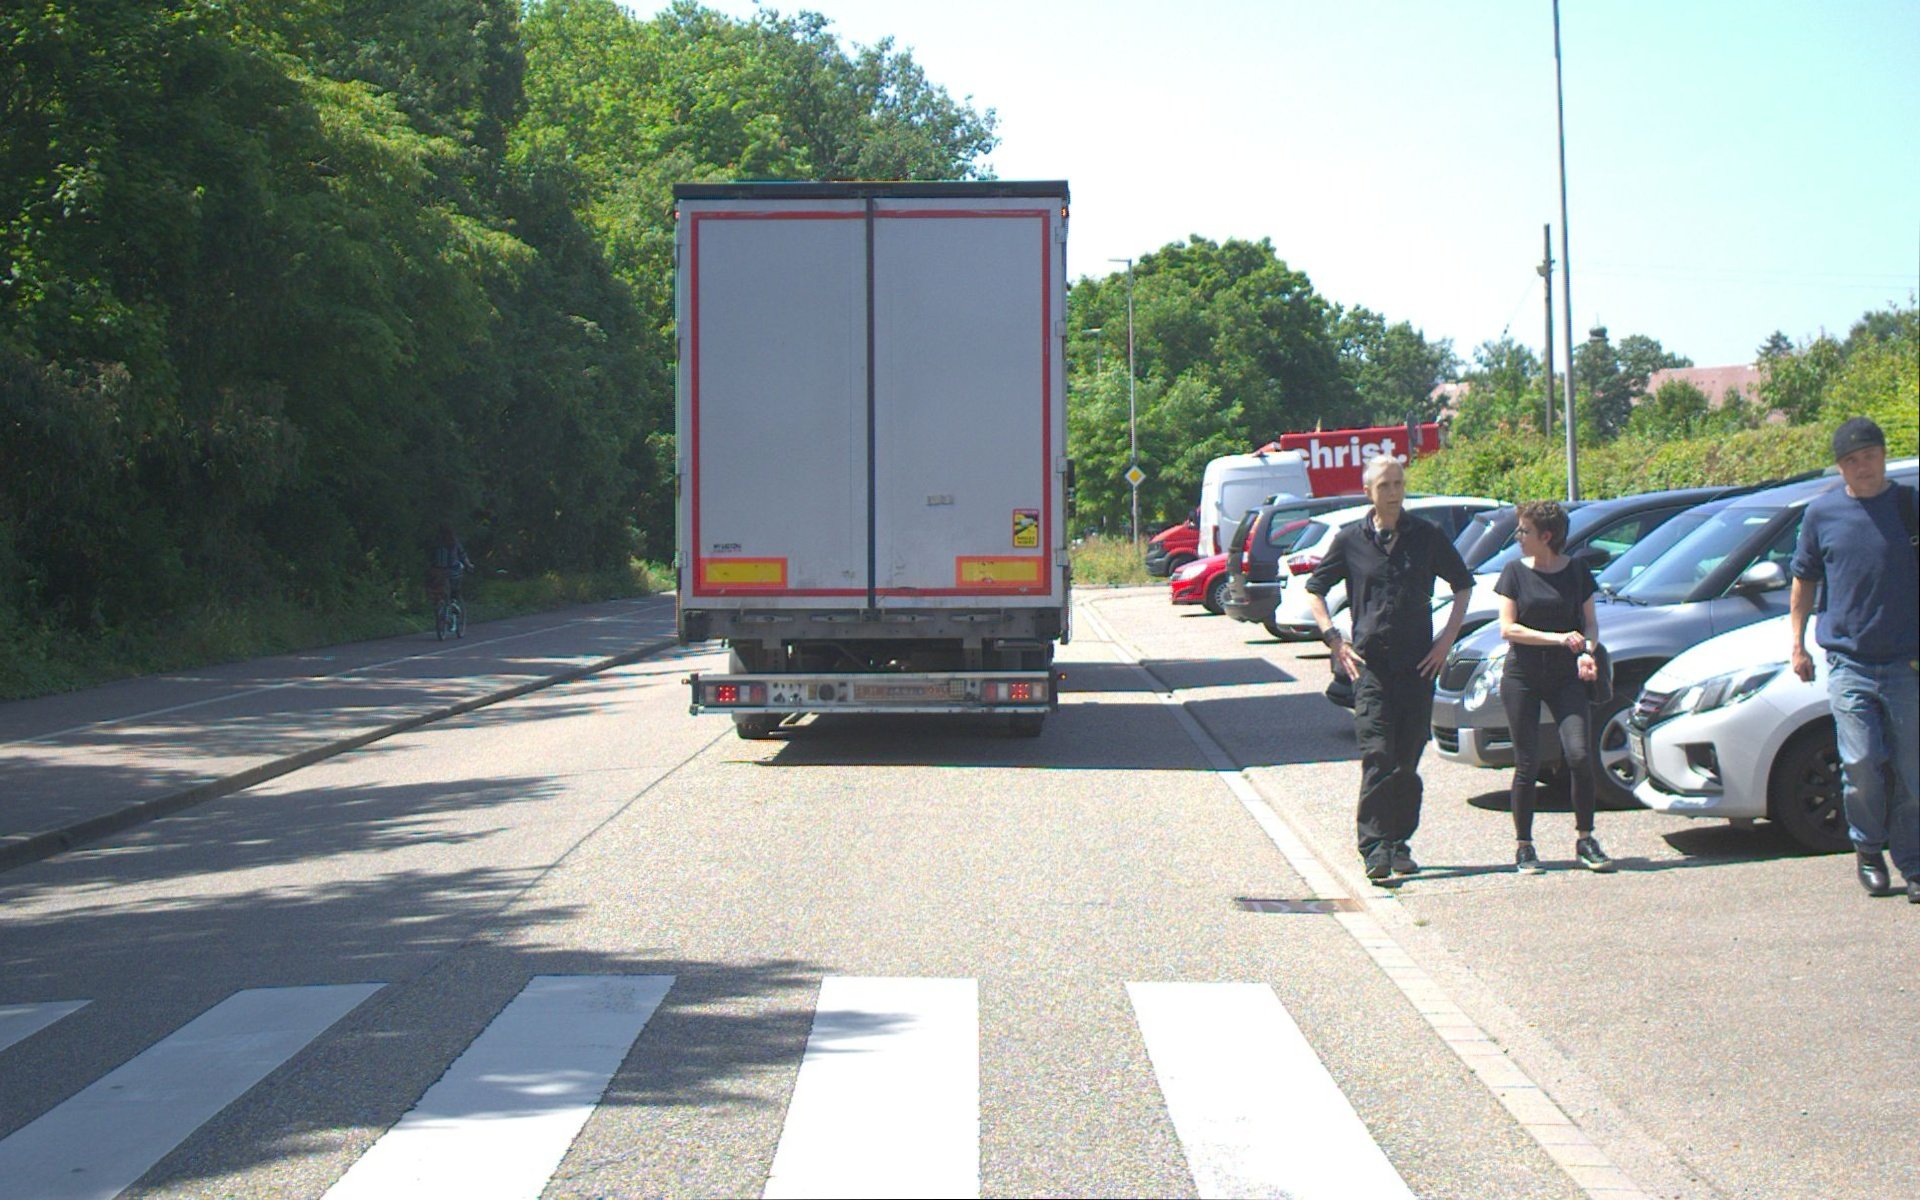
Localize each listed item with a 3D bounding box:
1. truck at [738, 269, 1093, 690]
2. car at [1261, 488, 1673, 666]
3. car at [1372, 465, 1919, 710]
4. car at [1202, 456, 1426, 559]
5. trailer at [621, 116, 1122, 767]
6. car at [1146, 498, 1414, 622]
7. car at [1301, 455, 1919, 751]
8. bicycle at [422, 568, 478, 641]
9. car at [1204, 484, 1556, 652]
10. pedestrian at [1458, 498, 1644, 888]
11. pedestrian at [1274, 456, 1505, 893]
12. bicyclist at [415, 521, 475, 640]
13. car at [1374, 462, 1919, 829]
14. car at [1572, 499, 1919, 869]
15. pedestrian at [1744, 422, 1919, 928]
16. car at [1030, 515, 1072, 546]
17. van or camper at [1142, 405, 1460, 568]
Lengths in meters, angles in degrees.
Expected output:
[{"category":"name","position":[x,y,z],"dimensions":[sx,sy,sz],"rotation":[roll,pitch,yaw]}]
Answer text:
[{"category":"truck","position":[-0.343,-1.146,34.141],"dimensions":[3.114,3.712,6.414],"rotation":[-1,1,1]},{"category":"car","position":[5.357,-0.259,36.629],"dimensions":[3.956,1.613,1.814],"rotation":[-3,1,-4]},{"category":"car","position":[5.517,-0.108,27.544],"dimensions":[3.955,1.580,1.814],"rotation":[-5,1,-8]},{"category":"car","position":[6.512,-1.703,63.483],"dimensions":[3.956,1.792,1.813],"rotation":[-1,1,2]},{"category":"trailer","position":[-0.449,-1.126,27.763],"dimensions":[3.113,4.088,11.537],"rotation":[-1,1,1]},{"category":"car","position":[5.161,-0.650,55.740],"dimensions":[3.956,1.662,1.814],"rotation":[-5,1,-4]},{"category":"car","position":[4.593,-0.026,24.108],"dimensions":[3.955,1.662,1.814],"rotation":[-5,3,-8]},{"category":"bicycle","position":[-7.665,0.051,51.732],"dimensions":[0.454,1.043,2.203],"rotation":[-1,1,1]},{"category":"car","position":[5.189,-0.409,42.779],"dimensions":[3.956,1.759,1.814],"rotation":[-4,1,-4]},{"category":"pedestrian","position":[2.558,0.386,14.941],"dimensions":[0.589,1.609,0.744],"rotation":[-5,1,4]},{"category":"pedestrian","position":[1.896,0.317,15.276],"dimensions":[0.822,1.828,0.792],"rotation":[-5,1,4]},{"category":"bicyclist","position":[-7.728,-0.301,51.637],"dimensions":[0.717,1.752,0.796],"rotation":[-1,1,2]},{"category":"car","position":[4.429,0.156,18.419],"dimensions":[3.956,1.662,1.814],"rotation":[-5,1,-6]},{"category":"car","position":[4.921,0.244,15.542],"dimensions":[3.957,1.475,1.813],"rotation":[-5,1,3]},{"category":"pedestrian","position":[3.537,0.244,12.849],"dimensions":[0.907,1.792,0.935],"rotation":[-5,1,4]},{"category":"car","position":[4.787,-3.670,180.788],"dimensions":[1.781,1.481,3.999],"rotation":[-3,2,7]},{"category":"van or camper","position":[7.988,-2.620,80.287],"dimensions":[7.049,3.574,2.772],"rotation":[-1,1,13]}]
